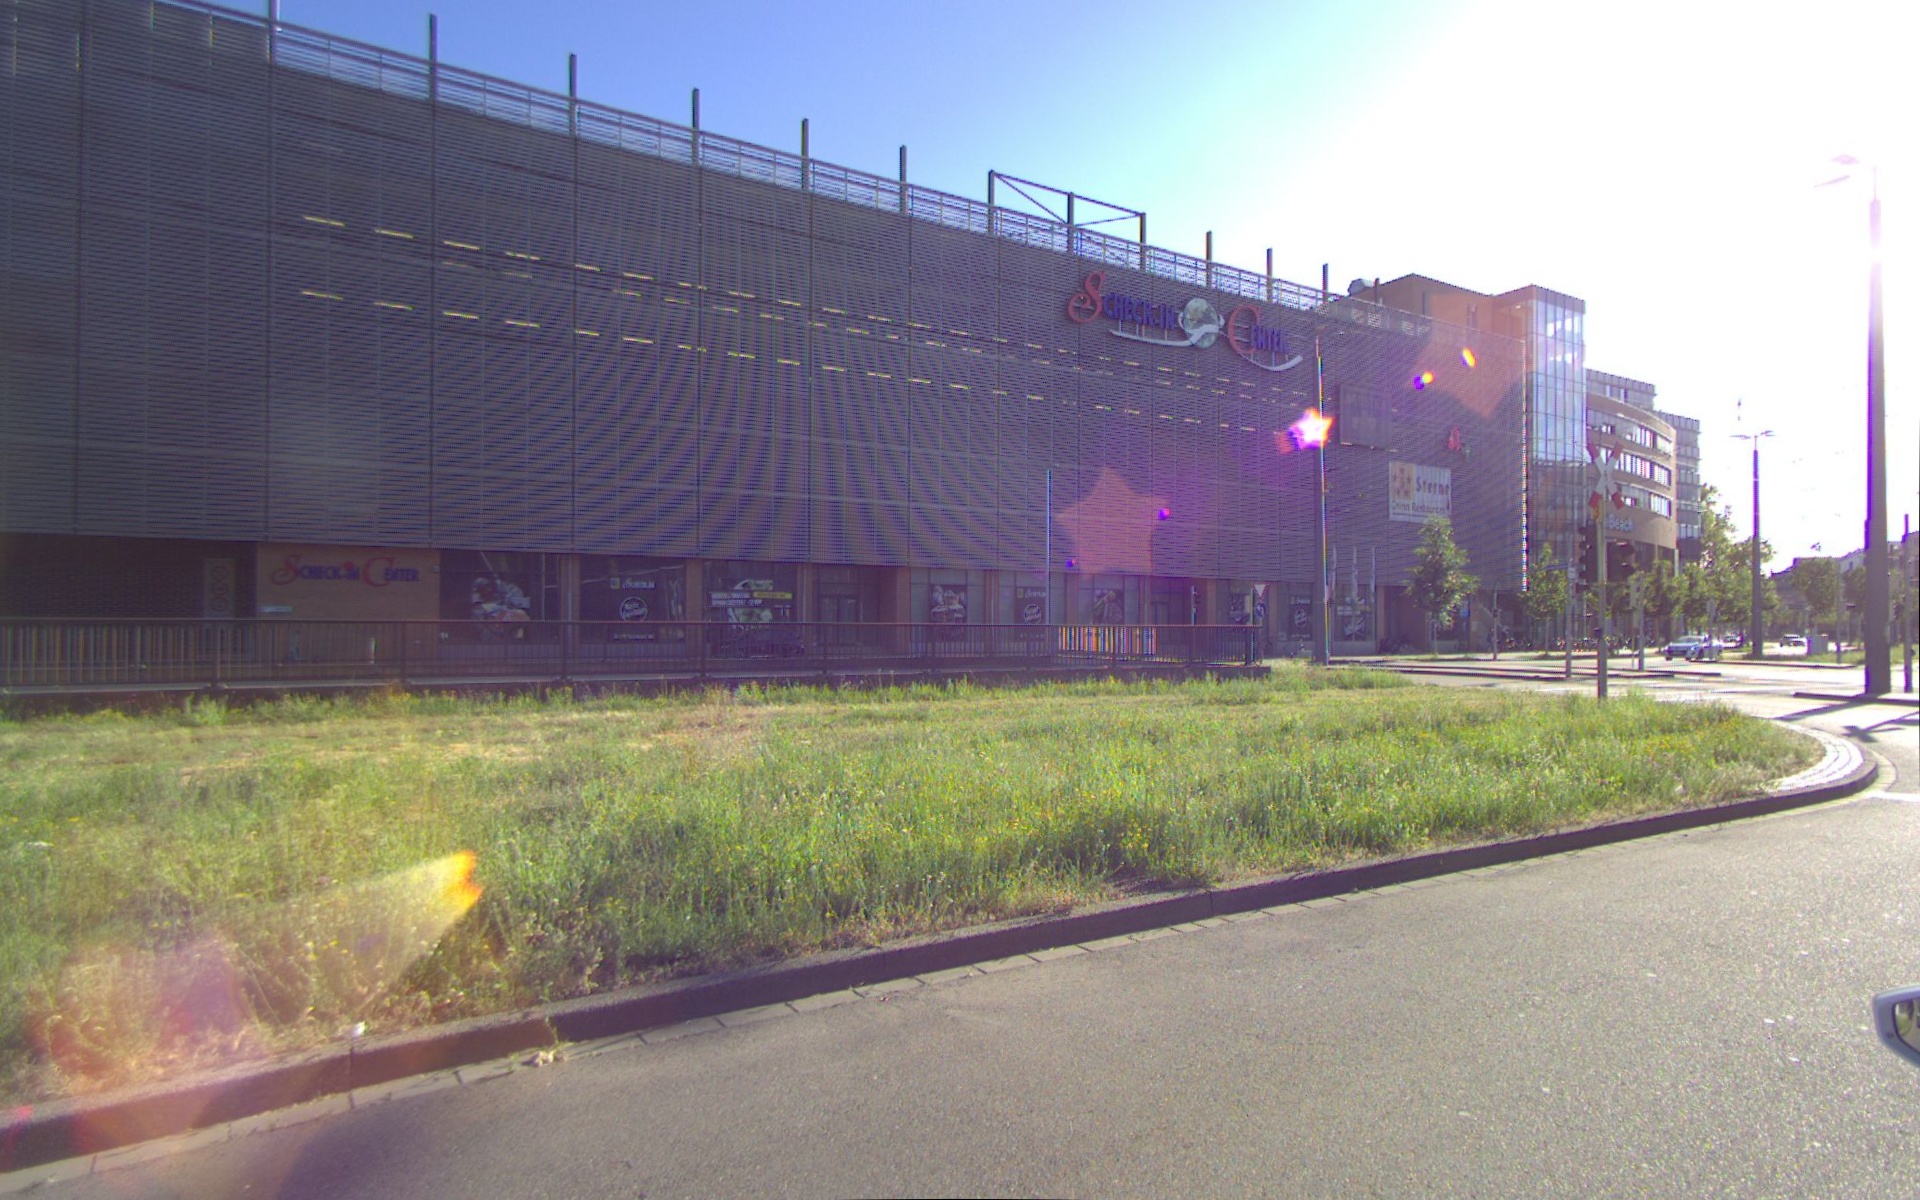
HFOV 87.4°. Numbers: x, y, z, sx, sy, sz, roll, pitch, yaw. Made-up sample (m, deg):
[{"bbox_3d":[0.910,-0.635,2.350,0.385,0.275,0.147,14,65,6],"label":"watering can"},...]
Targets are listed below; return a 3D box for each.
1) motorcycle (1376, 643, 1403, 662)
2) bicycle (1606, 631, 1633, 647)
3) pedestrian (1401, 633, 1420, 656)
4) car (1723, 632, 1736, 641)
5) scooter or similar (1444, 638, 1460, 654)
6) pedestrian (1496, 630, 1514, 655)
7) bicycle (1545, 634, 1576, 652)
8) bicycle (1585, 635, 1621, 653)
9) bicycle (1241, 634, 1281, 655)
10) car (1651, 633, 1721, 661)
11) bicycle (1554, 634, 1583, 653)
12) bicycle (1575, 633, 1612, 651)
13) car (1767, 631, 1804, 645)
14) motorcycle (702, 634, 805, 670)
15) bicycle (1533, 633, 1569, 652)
[{"bbox_3d":[28.361,3.470,66.310,1.872,1.255,0.672,2,-3,-31],"label":"motorcycle"},{"bbox_3d":[61.706,3.632,94.011,0.747,1.452,2.135,1,-3,-21],"label":"bicycle"},{"bbox_3d":[32.113,3.195,71.593,0.819,1.586,0.983,2,-3,-30],"label":"pedestrian"},{"bbox_3d":[137.232,6.471,179.149,1.627,1.609,3.350,0,-2,33],"label":"car"},{"bbox_3d":[35.298,3.295,72.061,1.138,1.124,0.419,3,-3,-30],"label":"scooter or similar"},{"bbox_3d":[40.512,3.141,74.697,0.894,1.848,0.823,2,-3,-28],"label":"pedestrian"},{"bbox_3d":[48.520,3.485,81.235,0.848,1.452,2.080,1,-3,-21],"label":"bicycle"},{"bbox_3d":[54.458,3.743,85.118,0.891,1.452,2.558,2,-3,-21],"label":"bicycle"},{"bbox_3d":[17.925,2.665,59.781,2.384,1.237,0.797,1,-2,-27],"label":"bicycle"},{"bbox_3d":[42.491,2.721,58.756,4.485,1.566,1.980,1,-2,-35],"label":"car"},{"bbox_3d":[49.504,3.535,81.761,0.795,1.452,1.975,1,-3,-21],"label":"bicycle"},{"bbox_3d":[52.739,3.475,83.640,0.891,1.452,2.558,2,-3,-21],"label":"bicycle"},{"bbox_3d":[102.135,4.701,124.353,1.623,1.609,3.357,1,-1,-5],"label":"car"},{"bbox_3d":[-8.878,2.194,43.208,3.953,1.472,1.984,1,-2,-30],"label":"motorcycle"},{"bbox_3d":[47.546,3.414,80.851,1.060,1.452,2.367,2,-3,-21],"label":"bicycle"}]
